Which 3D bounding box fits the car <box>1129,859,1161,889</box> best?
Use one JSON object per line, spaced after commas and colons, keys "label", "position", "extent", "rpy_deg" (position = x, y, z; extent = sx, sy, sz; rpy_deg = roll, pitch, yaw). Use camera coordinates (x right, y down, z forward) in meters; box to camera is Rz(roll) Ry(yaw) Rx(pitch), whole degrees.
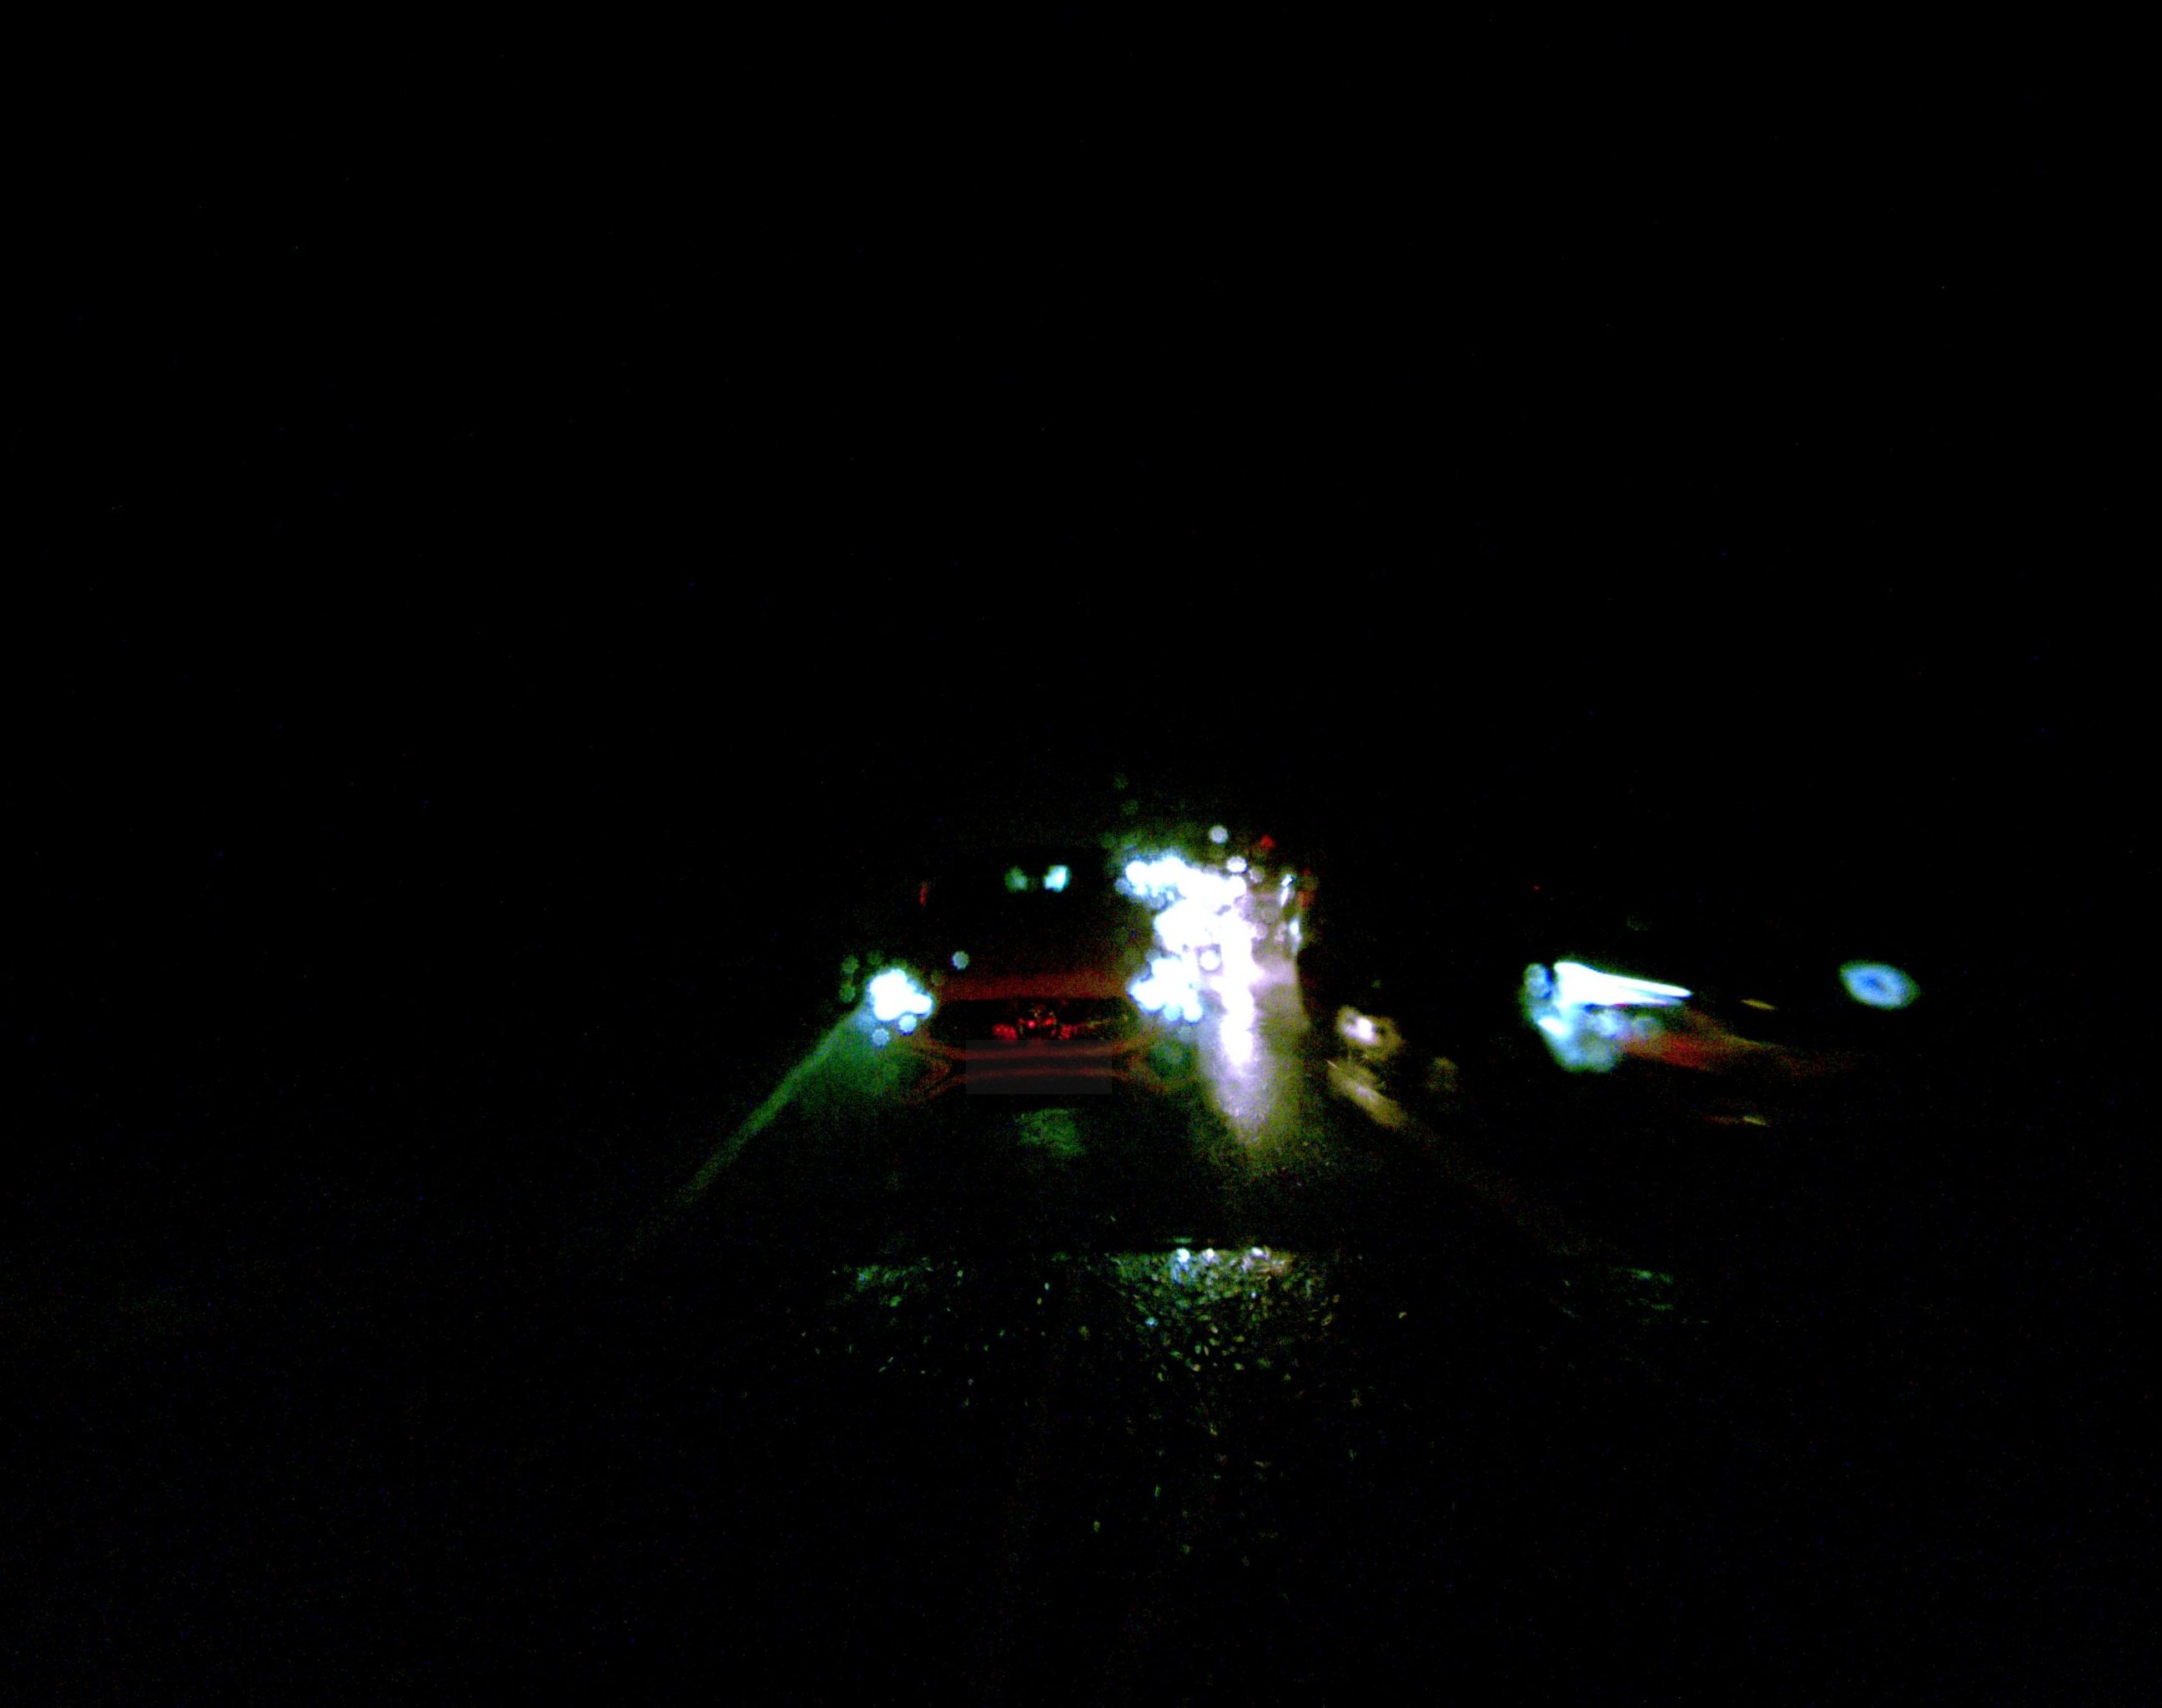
{"label": "car", "position": [4.362, 1.320, 51.929], "extent": [1.746, 1.791, 4.080], "rpy_deg": [-2, 1, -1]}

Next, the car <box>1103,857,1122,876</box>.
{"label": "car", "position": [3.292, 1.314, 79.539], "extent": [1.781, 1.820, 4.557], "rpy_deg": [-2, 1, 1]}

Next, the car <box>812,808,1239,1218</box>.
{"label": "car", "position": [-0.355, 0.735, 5.857], "extent": [2.004, 1.914, 4.367], "rpy_deg": [-2, 1, -3]}

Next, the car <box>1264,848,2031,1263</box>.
{"label": "car", "position": [2.857, 0.779, 5.095], "extent": [1.856, 1.582, 4.020], "rpy_deg": [-2, 1, -7]}

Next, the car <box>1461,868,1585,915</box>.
{"label": "car", "position": [14.863, 1.212, 25.810], "extent": [1.637, 1.289, 3.879], "rpy_deg": [-2, 1, -6]}

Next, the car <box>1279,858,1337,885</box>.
{"label": "car", "position": [13.248, 0.991, 44.615], "extent": [1.741, 1.428, 4.470], "rpy_deg": [-2, 1, -4]}

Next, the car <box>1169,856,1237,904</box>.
{"label": "car", "position": [4.603, 0.942, 29.343], "extent": [1.788, 1.586, 4.236], "rpy_deg": [-2, 1, -2]}

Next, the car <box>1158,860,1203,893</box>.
{"label": "car", "position": [4.909, 1.095, 37.988], "extent": [1.680, 1.437, 4.174], "rpy_deg": [-2, 1, 0]}

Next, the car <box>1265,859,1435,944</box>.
{"label": "car", "position": [5.184, 0.852, 15.284], "extent": [1.835, 1.399, 4.121], "rpy_deg": [-2, -1, -2]}

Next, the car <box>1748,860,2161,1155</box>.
{"label": "car", "position": [6.414, 0.813, 4.042], "extent": [1.741, 1.428, 4.288], "rpy_deg": [-2, 1, -5]}

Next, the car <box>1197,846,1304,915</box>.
{"label": "car", "position": [4.922, 0.691, 22.795], "extent": [1.999, 1.783, 4.720], "rpy_deg": [-2, 1, -2]}
